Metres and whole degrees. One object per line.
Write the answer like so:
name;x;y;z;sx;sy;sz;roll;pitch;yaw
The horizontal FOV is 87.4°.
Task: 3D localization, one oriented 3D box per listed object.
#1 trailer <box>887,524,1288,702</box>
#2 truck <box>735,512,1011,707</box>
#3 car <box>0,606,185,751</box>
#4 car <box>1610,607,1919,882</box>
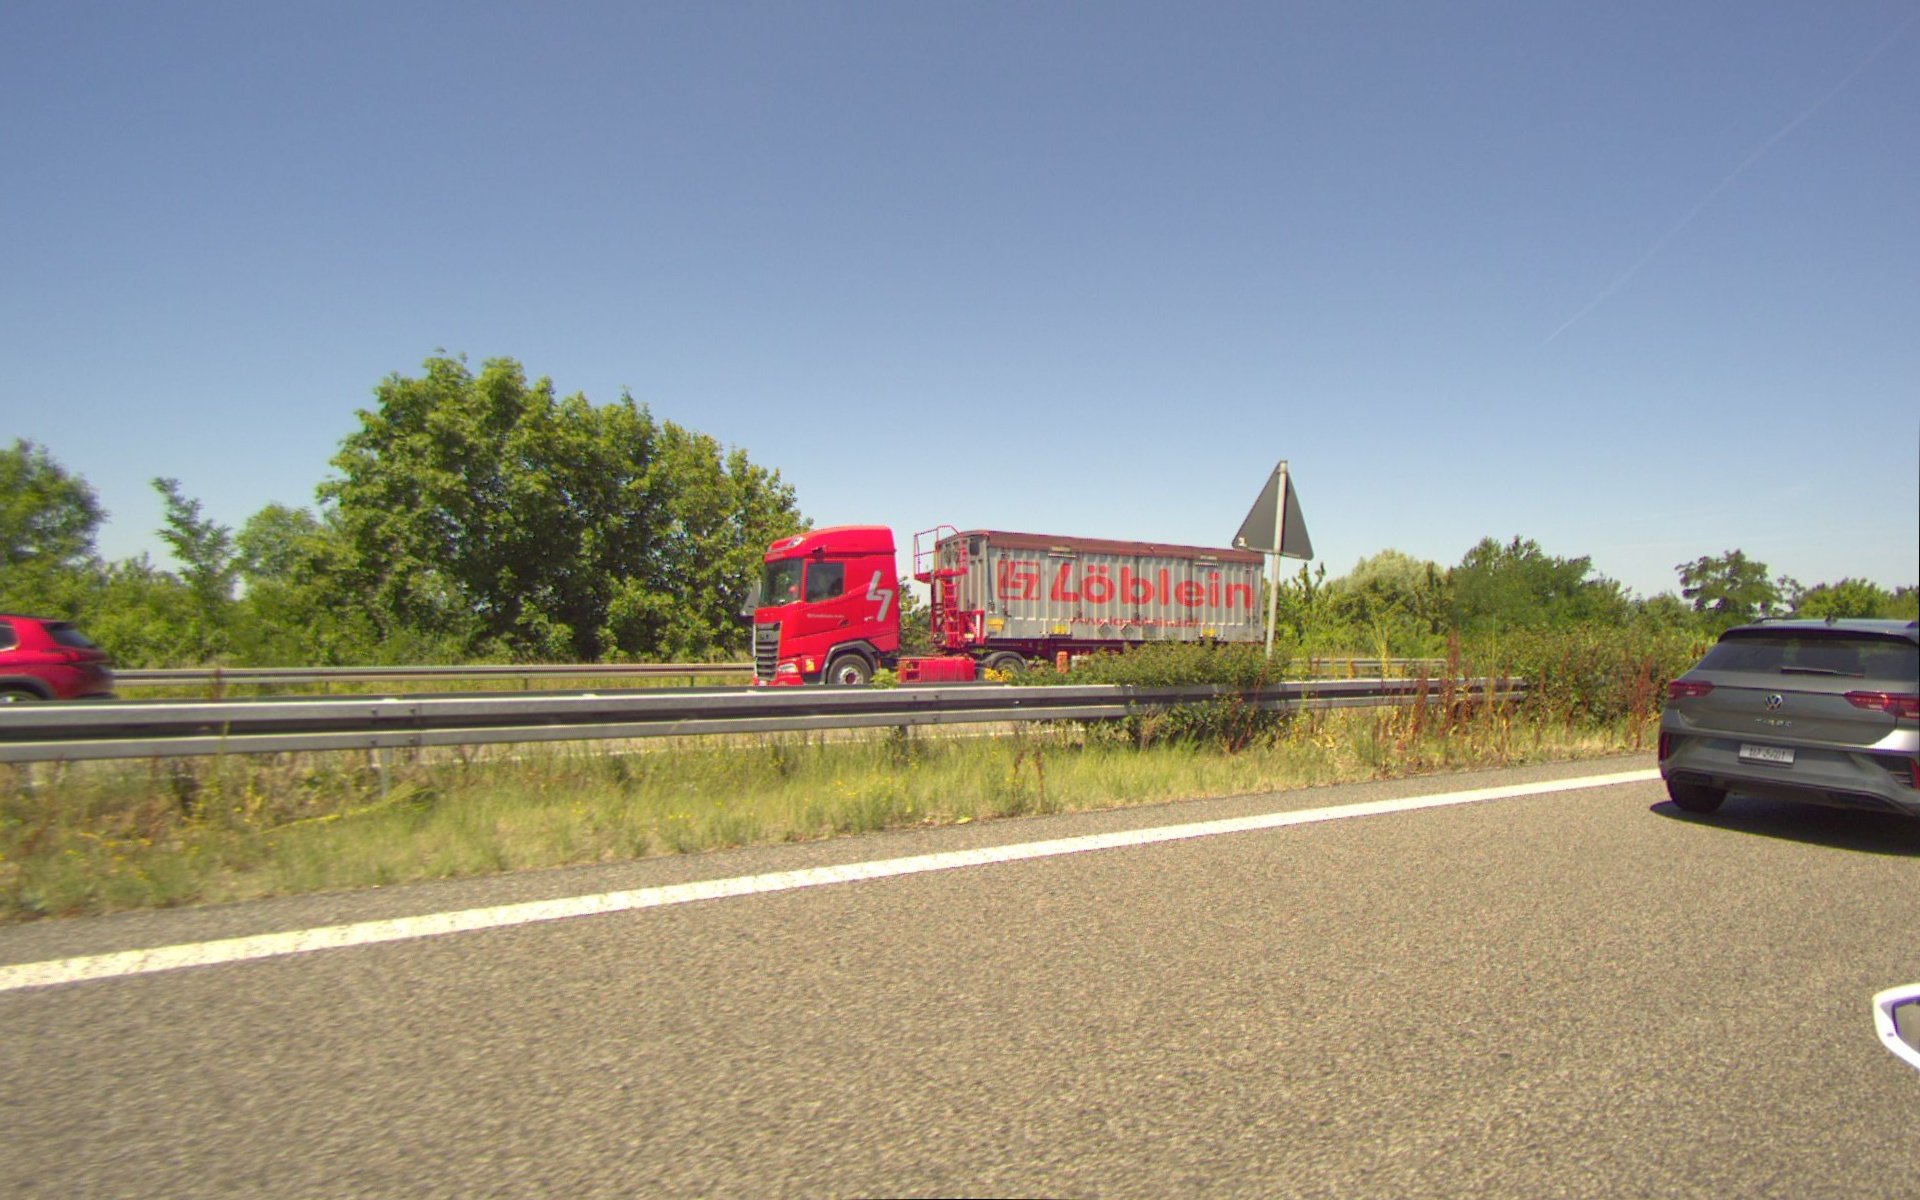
trailer;3.611;0.433;26.229;10.777;3.920;3.065;1;-2;-30
truck;-1.972;0.282;22.898;5.524;3.920;3.065;1;-2;-30
car;-12.030;0.897;11.890;4.282;1.666;1.646;1;-2;-30
car;7.529;0.894;8.123;4.951;1.662;1.870;0;0;-31
